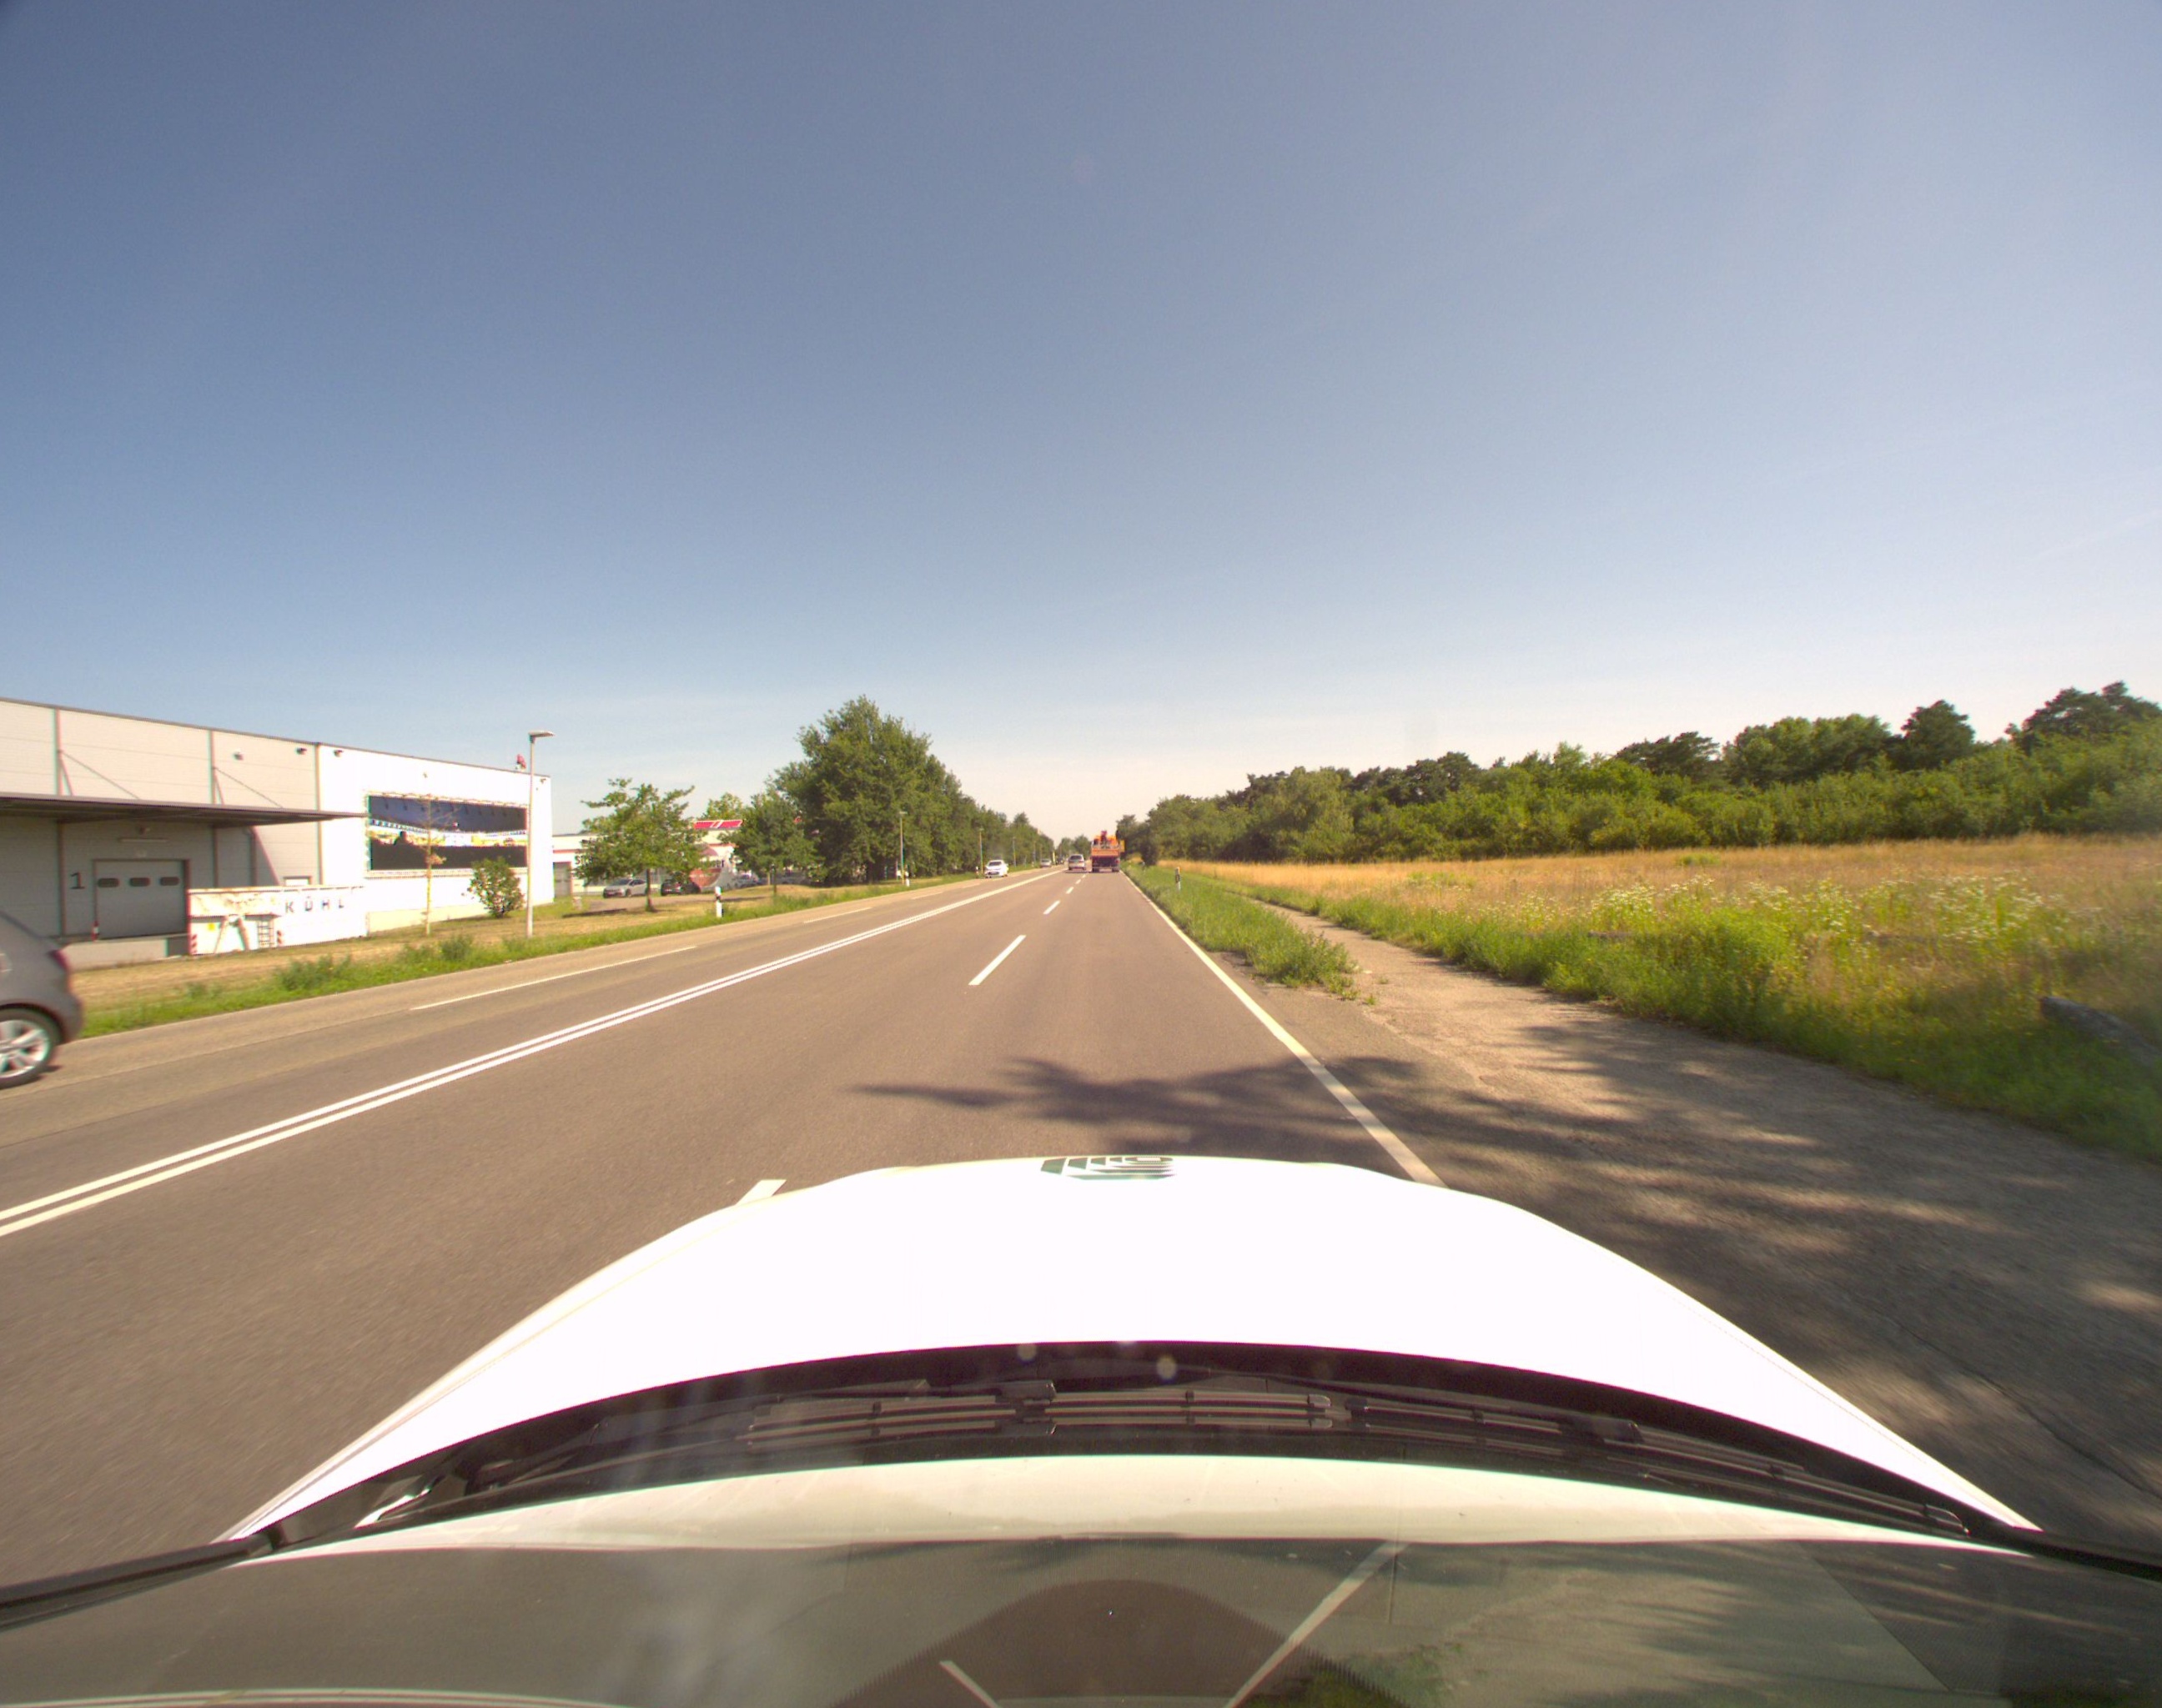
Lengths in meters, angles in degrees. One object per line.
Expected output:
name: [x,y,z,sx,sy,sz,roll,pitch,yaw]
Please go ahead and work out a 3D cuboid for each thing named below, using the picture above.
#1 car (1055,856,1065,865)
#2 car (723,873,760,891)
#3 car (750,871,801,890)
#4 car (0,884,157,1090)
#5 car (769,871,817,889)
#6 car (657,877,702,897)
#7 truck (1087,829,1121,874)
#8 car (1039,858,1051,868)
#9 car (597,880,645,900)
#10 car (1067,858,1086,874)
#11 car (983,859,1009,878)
car: [-4.570,1.354,175.681,1.819,1.671,4.389,-4,0,0]
car: [-29.992,2.491,71.968,1.750,1.500,3.951,-2,0,-42]
car: [-28.173,2.433,75.117,3.973,1.500,1.758,-3,0,1]
car: [-9.316,1.113,5.259,1.723,1.561,4.216,-4,0,1]
car: [-27.964,2.541,79.208,3.973,1.500,1.758,-3,0,1]
car: [-31.786,2.611,64.601,1.630,1.390,3.723,-3,0,1]
truck: [2.048,-0.210,75.158,2.863,3.880,7.397,0,0,-1]
car: [-5.784,1.410,132.810,1.592,1.442,4.001,-4,0,1]
car: [-36.494,2.842,64.684,1.630,1.410,3.723,-3,0,1]
car: [-0.483,1.276,86.986,1.987,1.583,3.999,-2,0,0]
car: [-7.329,1.249,70.140,1.653,1.437,3.736,-4,0,1]
